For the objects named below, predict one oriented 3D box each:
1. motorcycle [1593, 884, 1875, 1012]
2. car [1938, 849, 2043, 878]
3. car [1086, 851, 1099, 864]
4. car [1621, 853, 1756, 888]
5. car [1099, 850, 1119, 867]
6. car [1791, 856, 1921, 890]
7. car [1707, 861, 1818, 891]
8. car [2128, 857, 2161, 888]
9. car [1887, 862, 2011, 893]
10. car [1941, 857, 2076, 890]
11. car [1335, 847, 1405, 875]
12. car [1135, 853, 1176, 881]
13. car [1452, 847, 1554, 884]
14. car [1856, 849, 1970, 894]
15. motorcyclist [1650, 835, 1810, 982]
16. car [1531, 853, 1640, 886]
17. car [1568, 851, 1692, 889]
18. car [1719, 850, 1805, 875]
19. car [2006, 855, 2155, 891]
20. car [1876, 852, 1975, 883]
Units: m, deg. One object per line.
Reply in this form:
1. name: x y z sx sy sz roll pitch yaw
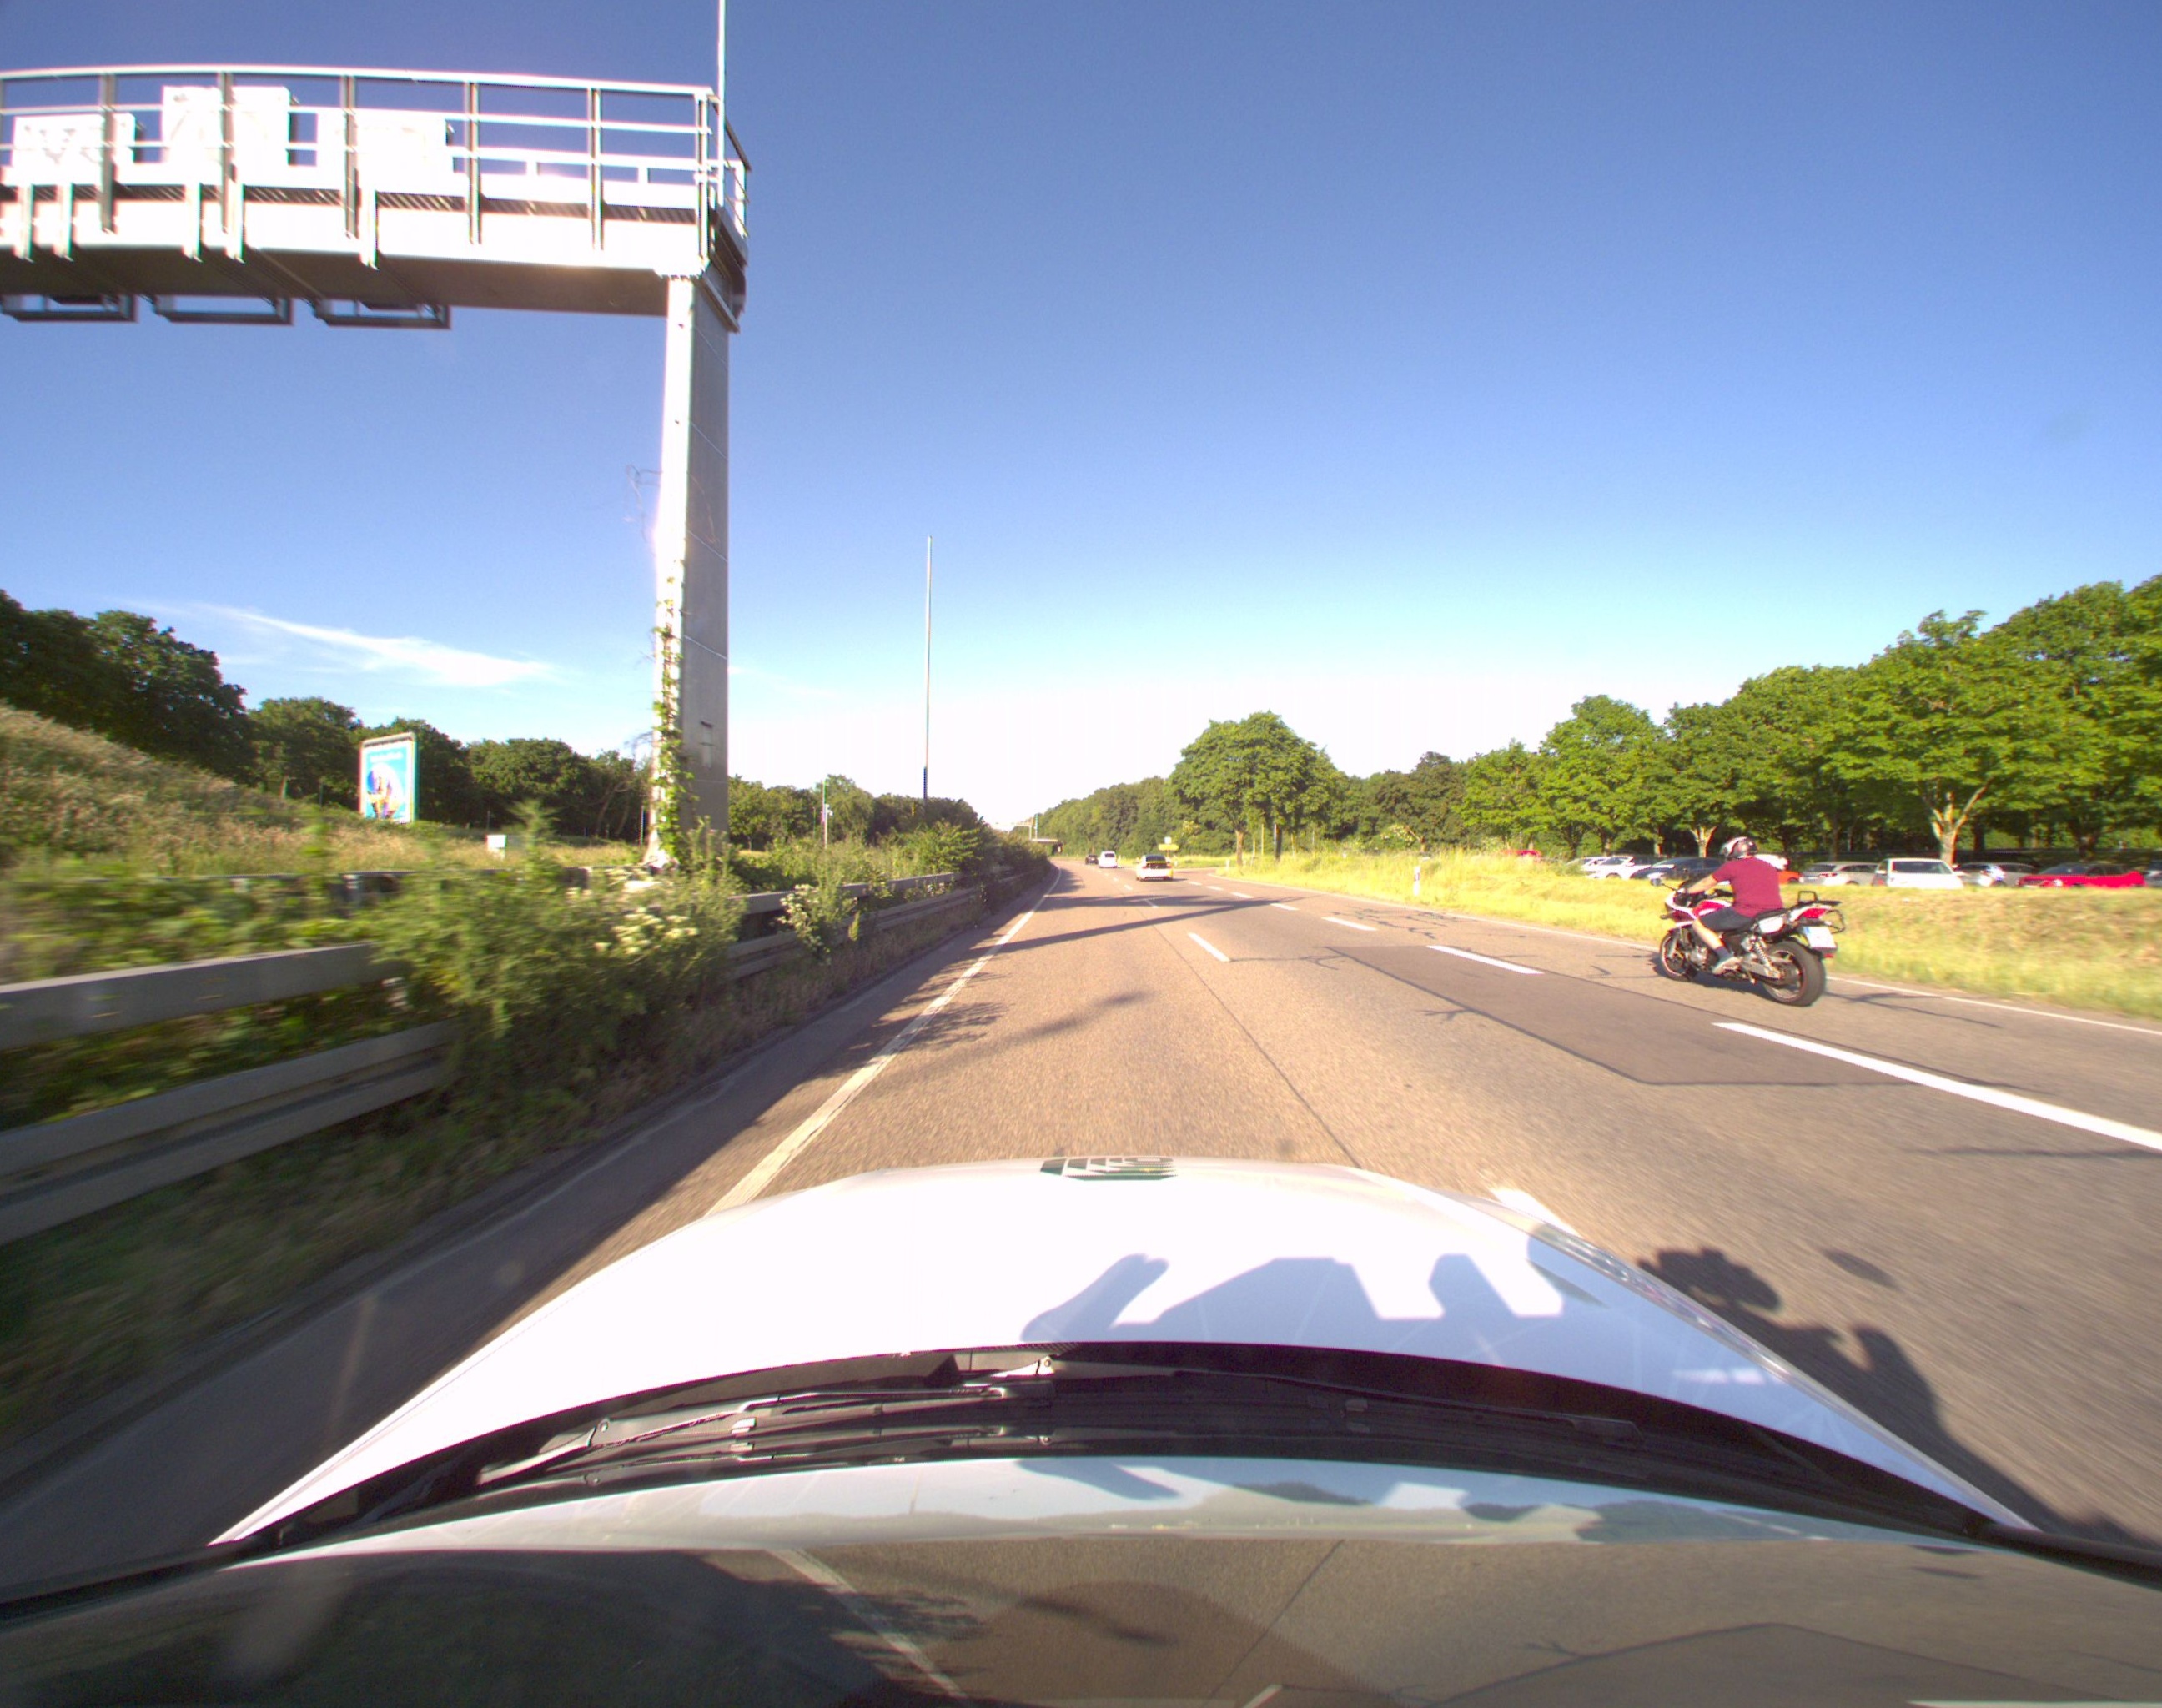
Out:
1. motorcycle: 6.808 0.902 8.795 0.813 1.069 2.836 0 0 1
2. car: 52.259 0.552 46.840 4.201 1.560 1.786 1 -1 -2
3. car: 1.659 0.528 119.627 1.890 1.767 4.000 -1 0 1
4. car: 23.900 0.685 32.126 3.979 1.307 1.921 0 -3 -4
5. car: 2.986 0.511 88.186 1.892 1.767 3.996 0 -1 -2
6. car: 34.329 0.878 36.137 4.102 1.424 1.921 0 -3 -4
7. car: 34.674 1.138 41.506 4.102 1.424 2.020 0 -3 -4
8. car: 51.948 0.862 37.950 4.102 1.424 1.863 0 -3 -4
9. car: 41.516 1.134 39.010 4.102 1.424 1.863 0 -3 -4
10. car: 41.319 0.892 36.343 4.102 1.424 1.863 0 -3 -4
11. car: 23.613 0.579 66.762 5.008 2.136 2.097 2 -1 5
12. car: 4.123 0.691 45.687 1.891 1.471 3.998 -1 0 -1
13. car: 23.873 0.686 46.220 4.780 2.024 2.023 0 -3 -4
14. car: 26.423 0.629 26.016 1.966 1.307 4.024 -2 -4 38
15. motorcyclist: 6.791 0.539 8.587 0.814 1.447 1.094 0 -1 1
16. car: 23.510 0.759 38.041 3.924 1.460 1.921 0 -3 -4
17. car: 23.689 0.721 35.222 4.102 1.559 1.921 0 -3 -4
18. car: 52.787 0.638 63.158 5.178 1.866 1.955 -1 -1 -3
19. car: 41.478 0.806 33.845 4.102 1.424 1.863 0 -3 -4
20. car: 52.130 0.841 50.302 4.582 1.776 1.941 -1 -2 -9
